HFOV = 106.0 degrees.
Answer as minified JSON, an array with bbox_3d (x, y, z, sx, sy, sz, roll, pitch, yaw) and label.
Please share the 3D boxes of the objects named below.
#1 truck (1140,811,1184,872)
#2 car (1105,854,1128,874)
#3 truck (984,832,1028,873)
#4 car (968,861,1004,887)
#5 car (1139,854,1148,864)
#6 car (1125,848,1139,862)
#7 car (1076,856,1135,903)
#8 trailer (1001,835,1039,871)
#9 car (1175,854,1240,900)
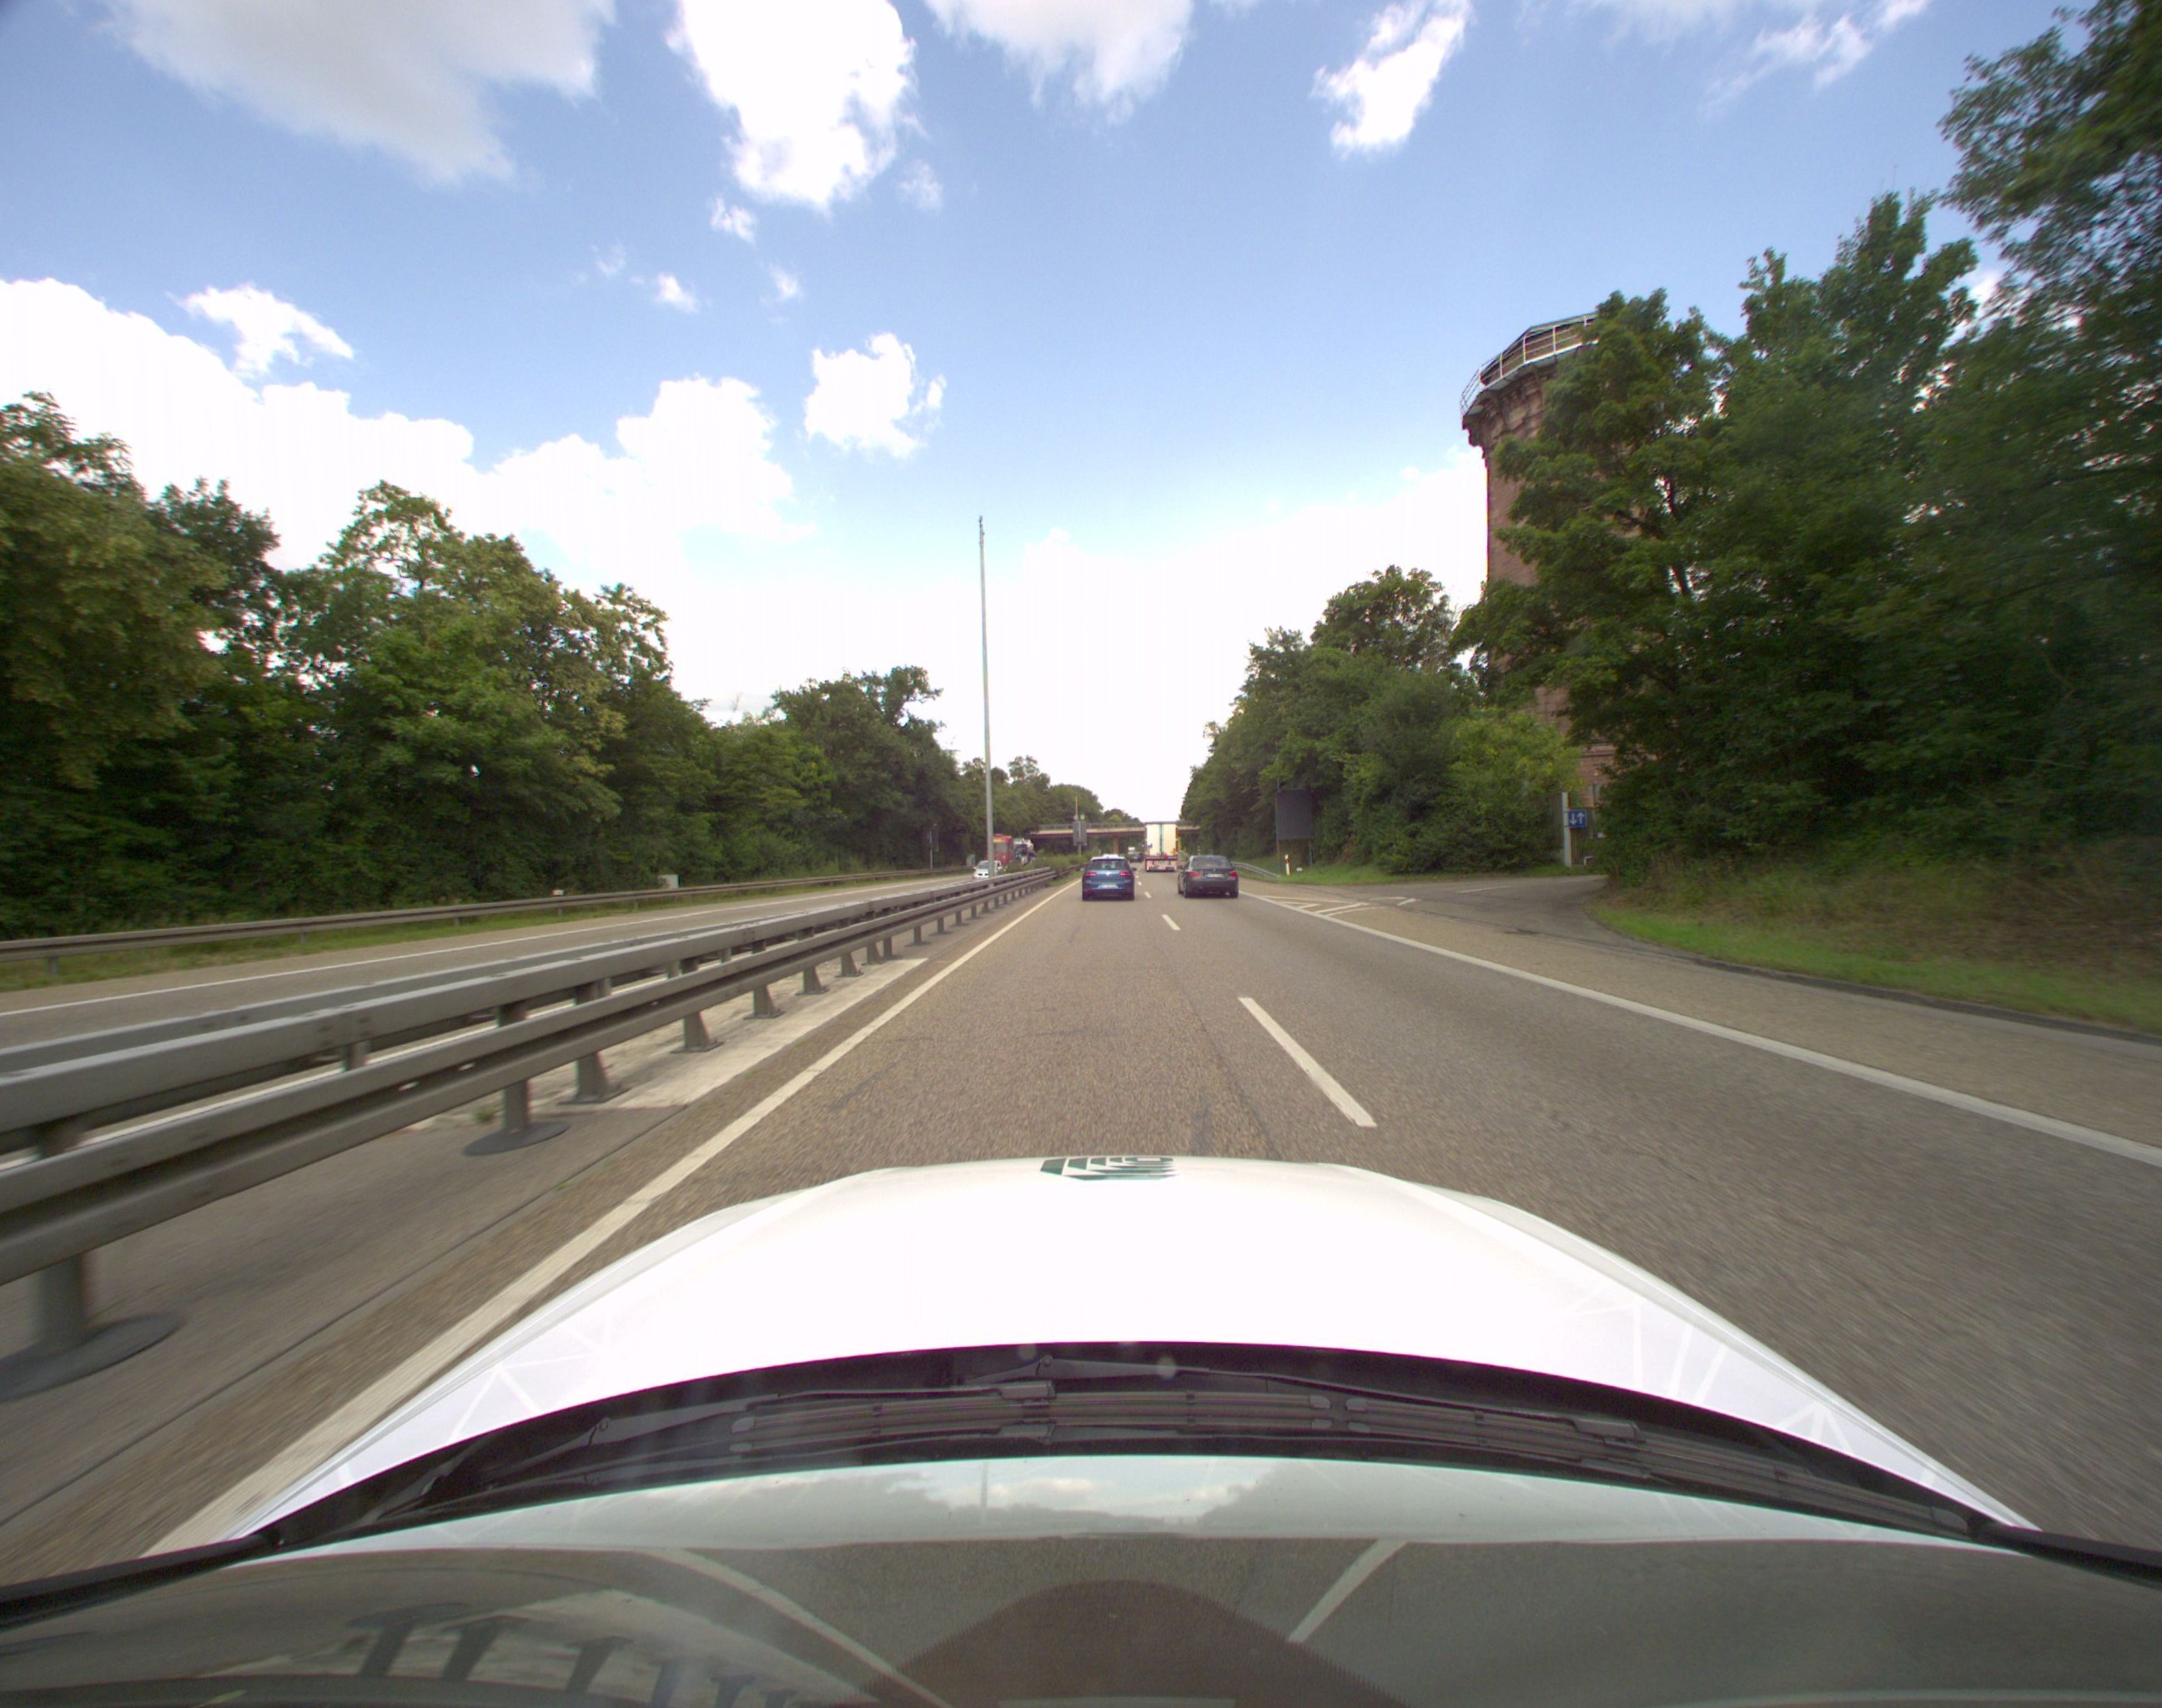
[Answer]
[{"bbox_3d":[6.768,-0.993,69.718,3.228,4.716,11.018,-2,0,4],"label":"truck"},{"bbox_3d":[2.918,0.775,66.039,1.658,1.500,4.157,-1,0,4],"label":"car"},{"bbox_3d":[-7.579,-0.136,84.210,2.943,3.855,10.330,-3,0,3],"label":"truck"},{"bbox_3d":[-6.253,1.281,53.948,1.699,1.568,4.033,-2,0,2],"label":"car"},{"bbox_3d":[15.048,1.200,195.011,1.984,2.327,4.448,-2,0,4],"label":"car"},{"bbox_3d":[8.039,0.181,127.496,1.944,2.013,4.007,-2,0,6],"label":"car"},{"bbox_3d":[0.912,0.811,28.072,1.696,1.470,4.007,-1,0,6],"label":"car"},{"bbox_3d":[-6.964,-0.129,94.456,2.925,3.833,10.319,-3,0,3],"label":"trailer"},{"bbox_3d":[4.424,0.743,29.100,1.767,1.475,4.883,-1,0,2],"label":"car"}]
